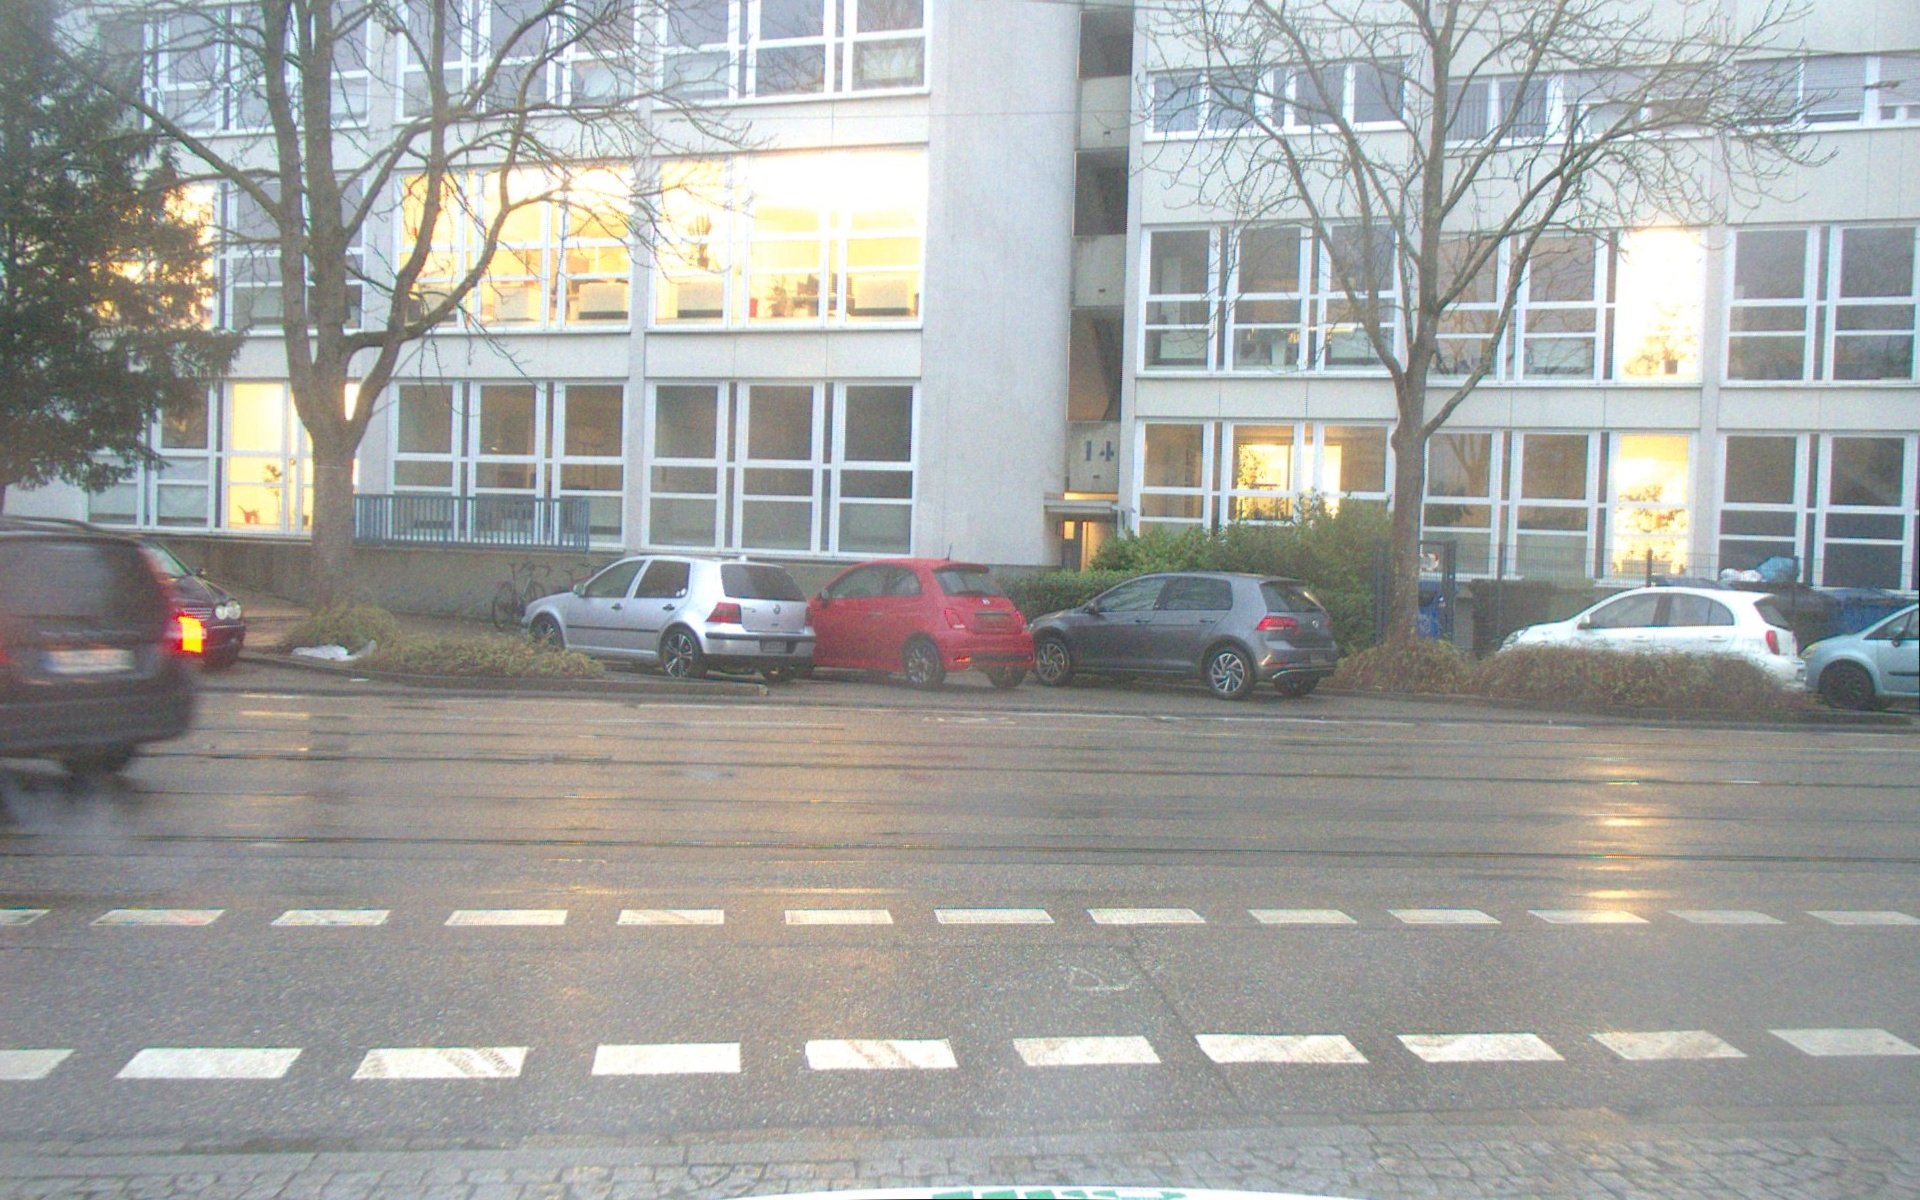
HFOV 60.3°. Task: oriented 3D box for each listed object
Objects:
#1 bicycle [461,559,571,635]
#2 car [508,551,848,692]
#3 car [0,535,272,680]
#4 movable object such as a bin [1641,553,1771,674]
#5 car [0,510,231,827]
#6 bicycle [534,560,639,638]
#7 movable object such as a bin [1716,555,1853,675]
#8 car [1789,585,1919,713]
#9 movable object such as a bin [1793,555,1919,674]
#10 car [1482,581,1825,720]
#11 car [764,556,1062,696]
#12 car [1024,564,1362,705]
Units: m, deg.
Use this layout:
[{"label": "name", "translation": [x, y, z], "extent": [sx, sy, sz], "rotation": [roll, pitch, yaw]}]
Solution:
[{"label": "bicycle", "translation": [-6.955, -0.063, 26.048], "extent": [0.626, 1.140, 2.207], "rotation": [1, 1, 15]}, {"label": "car", "translation": [-3.389, 0.187, 19.567], "extent": [3.922, 1.471, 1.785], "rotation": [2, 1, 37]}, {"label": "car", "translation": [-9.376, 0.017, 18.156], "extent": [3.928, 1.403, 1.845], "rotation": [2, 2, 42]}, {"label": "movable object such as a bin", "translation": [12.025, 0.191, 26.728], "extent": [1.288, 1.892, 1.573], "rotation": [0, 1, -6]}, {"label": "car", "translation": [-6.484, 0.281, 9.543], "extent": [4.194, 1.571, 1.753], "rotation": [2, 1, 22]}, {"label": "bicycle", "translation": [-5.783, -0.034, 25.753], "extent": [0.626, 1.140, 2.207], "rotation": [1, 1, 15]}, {"label": "movable object such as a bin", "translation": [13.382, 0.212, 26.897], "extent": [1.362, 1.892, 1.573], "rotation": [0, 1, -6]}, {"label": "car", "translation": [13.063, 0.648, 21.331], "extent": [3.928, 1.591, 1.727], "rotation": [2, 2, 42]}, {"label": "movable object such as a bin", "translation": [14.698, 0.213, 27.039], "extent": [1.288, 1.892, 1.573], "rotation": [0, 1, -6]}, {"label": "car", "translation": [8.982, 0.582, 21.544], "extent": [3.803, 1.578, 1.685], "rotation": [2, 1, 39]}, {"label": "car", "translation": [-0.622, 0.256, 20.213], "extent": [3.389, 1.518, 1.719], "rotation": [2, 2, 42]}, {"label": "car", "translation": [2.790, 0.354, 20.229], "extent": [3.782, 1.518, 1.687], "rotation": [2, 2, 40]}]
